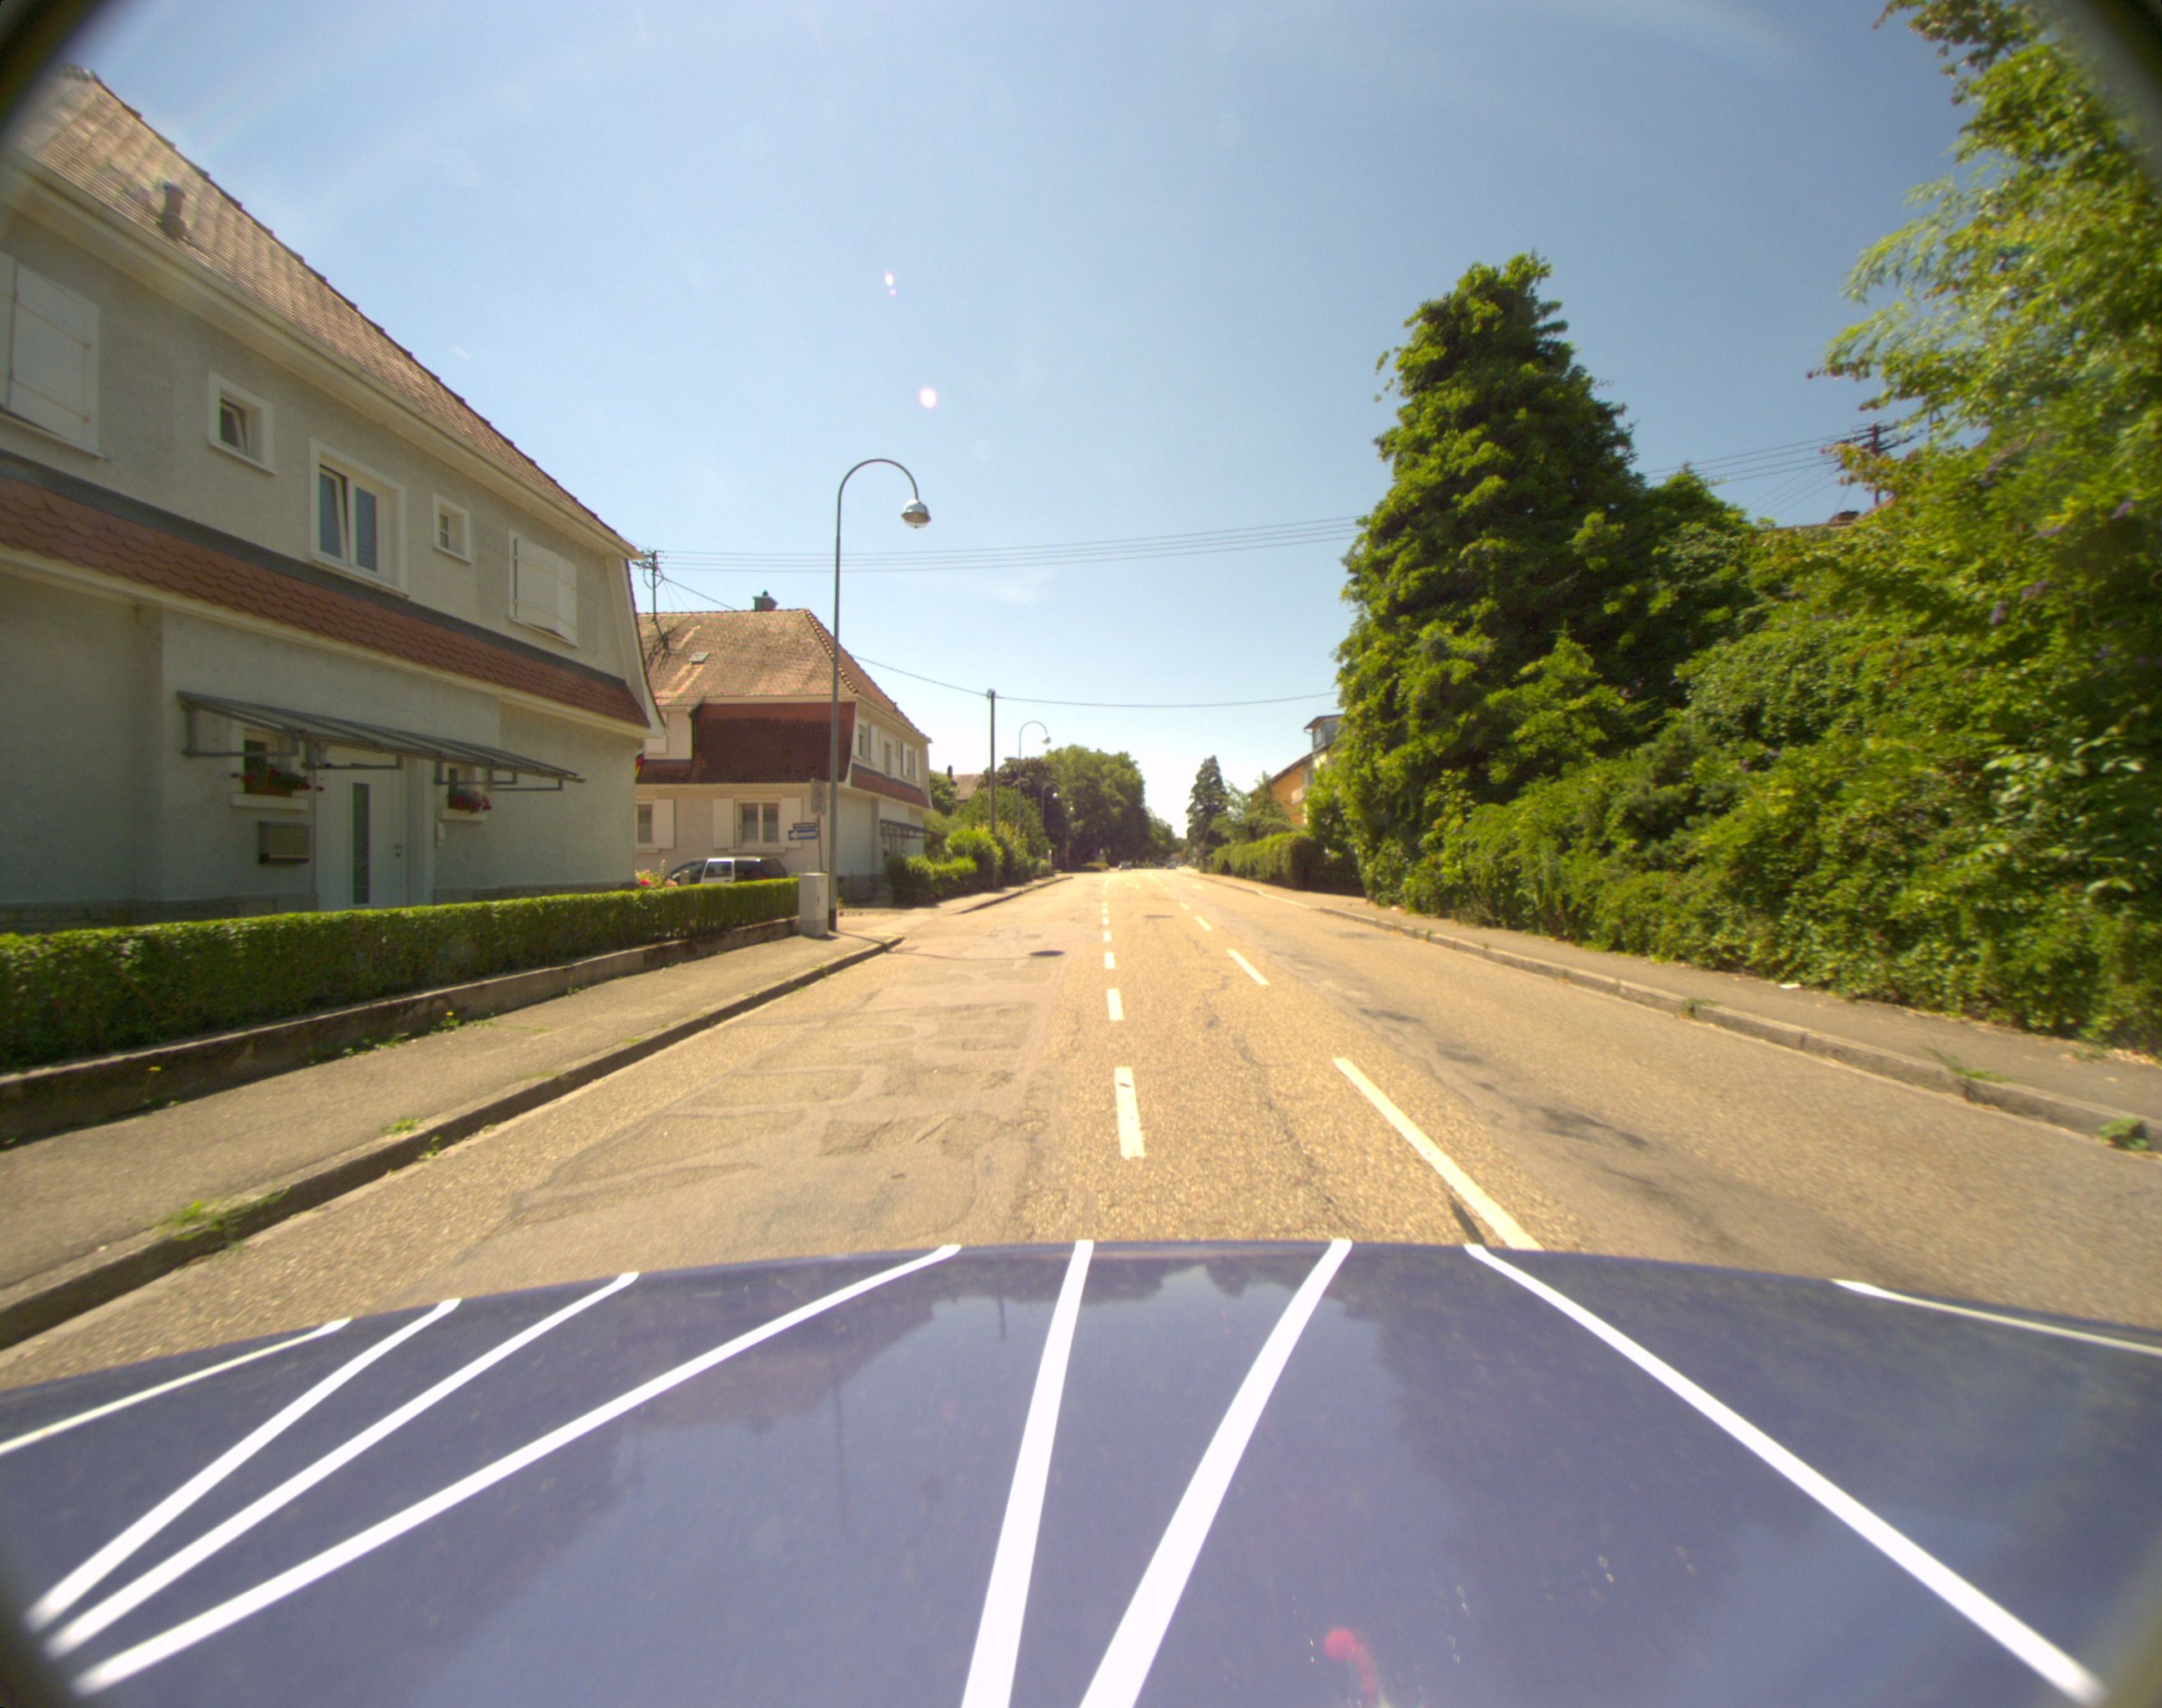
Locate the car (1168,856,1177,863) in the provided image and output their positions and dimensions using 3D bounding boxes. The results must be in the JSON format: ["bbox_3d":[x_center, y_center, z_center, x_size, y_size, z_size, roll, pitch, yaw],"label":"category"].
[{"bbox_3d":[17.981,1.121,149.741,1.684,1.364,4.208,1,0,5],"label":"car"}]

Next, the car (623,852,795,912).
[{"bbox_3d":[-10.453,0.760,21.523,4.005,1.527,1.693,-1,1,1],"label":"car"}]

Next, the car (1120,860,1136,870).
[{"bbox_3d":[7.294,1.688,118.649,1.882,1.623,4.325,0,0,11],"label":"car"}]
